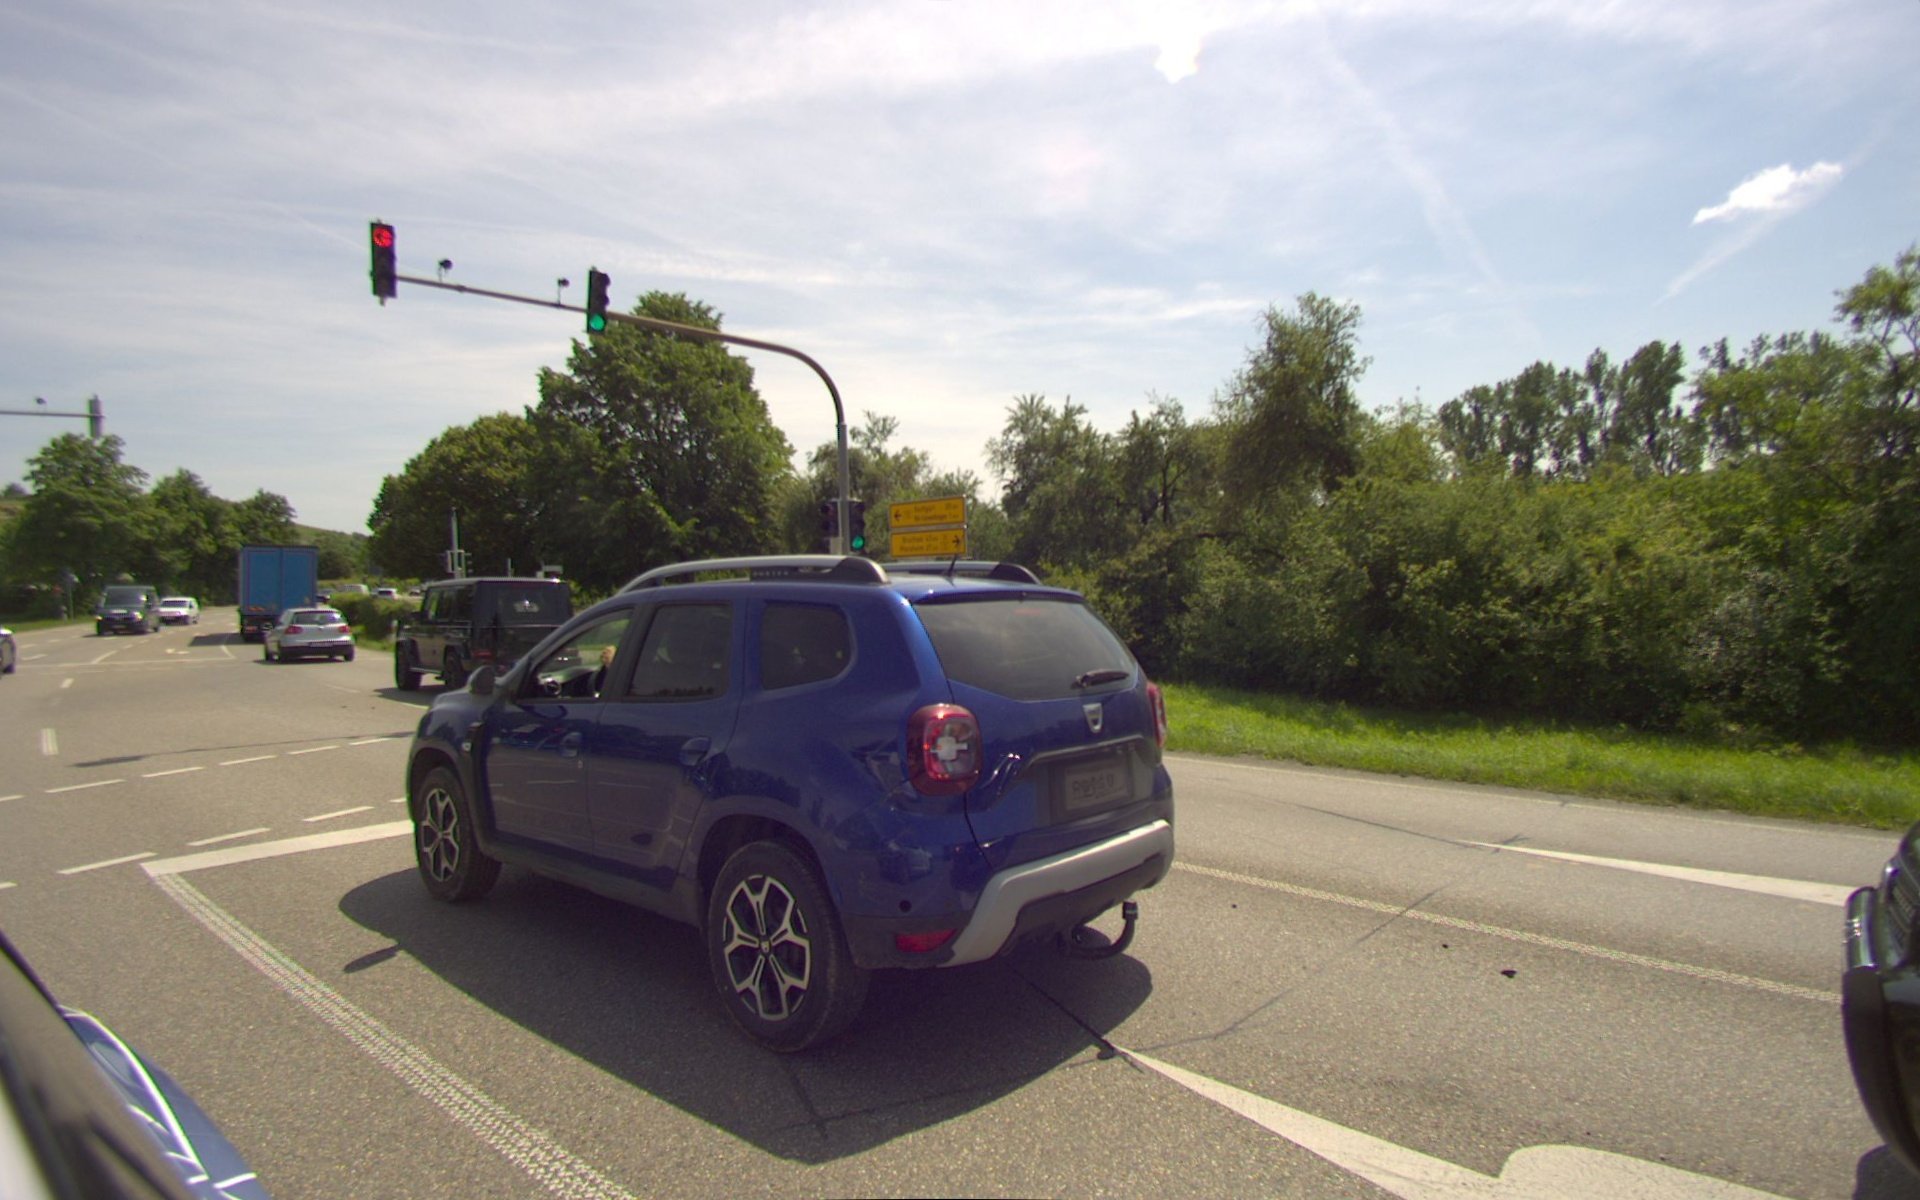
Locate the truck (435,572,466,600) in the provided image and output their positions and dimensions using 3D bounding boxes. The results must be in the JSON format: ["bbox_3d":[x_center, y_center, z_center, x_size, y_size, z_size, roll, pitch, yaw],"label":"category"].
[{"bbox_3d":[-75.304,-2.081,149.661,2.740,3.973,5.721,1,0,-14],"label":"truck"}]

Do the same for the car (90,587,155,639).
[{"bbox_3d":[-43.529,0.606,52.699,1.948,2.537,4.170,-1,1,-31],"label":"car"}]

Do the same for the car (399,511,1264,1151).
[{"bbox_3d":[-0.879,0.606,4.639,3.999,1.671,1.752,0,0,42],"label":"car"}]

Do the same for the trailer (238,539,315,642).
[{"bbox_3d":[-31.369,-0.307,46.222,2.532,4.060,13.627,0,-1,-35],"label":"trailer"}]

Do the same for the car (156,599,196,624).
[{"bbox_3d":[-52.102,0.716,67.298,1.754,1.504,4.169,-1,1,-34],"label":"car"}]

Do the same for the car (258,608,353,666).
[{"bbox_3d":[-18.355,0.975,28.300,1.749,1.507,4.007,1,-1,-40],"label":"car"}]

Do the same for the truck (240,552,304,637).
[{"bbox_3d":[-35.302,-0.234,51.815,2.532,4.060,6.575,0,-1,-36],"label":"truck"}]

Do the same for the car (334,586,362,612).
[{"bbox_3d":[-61.275,-0.081,101.342,2.022,2.470,5.285,0,0,-27],"label":"car"}]

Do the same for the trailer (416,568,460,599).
[{"bbox_3d":[-73.721,-2.212,143.113,2.740,4.133,11.691,1,0,-13],"label":"trailer"}]

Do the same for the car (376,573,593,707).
[{"bbox_3d":[-8.482,0.595,17.770,1.970,2.021,5.170,-1,0,-43],"label":"car"}]
